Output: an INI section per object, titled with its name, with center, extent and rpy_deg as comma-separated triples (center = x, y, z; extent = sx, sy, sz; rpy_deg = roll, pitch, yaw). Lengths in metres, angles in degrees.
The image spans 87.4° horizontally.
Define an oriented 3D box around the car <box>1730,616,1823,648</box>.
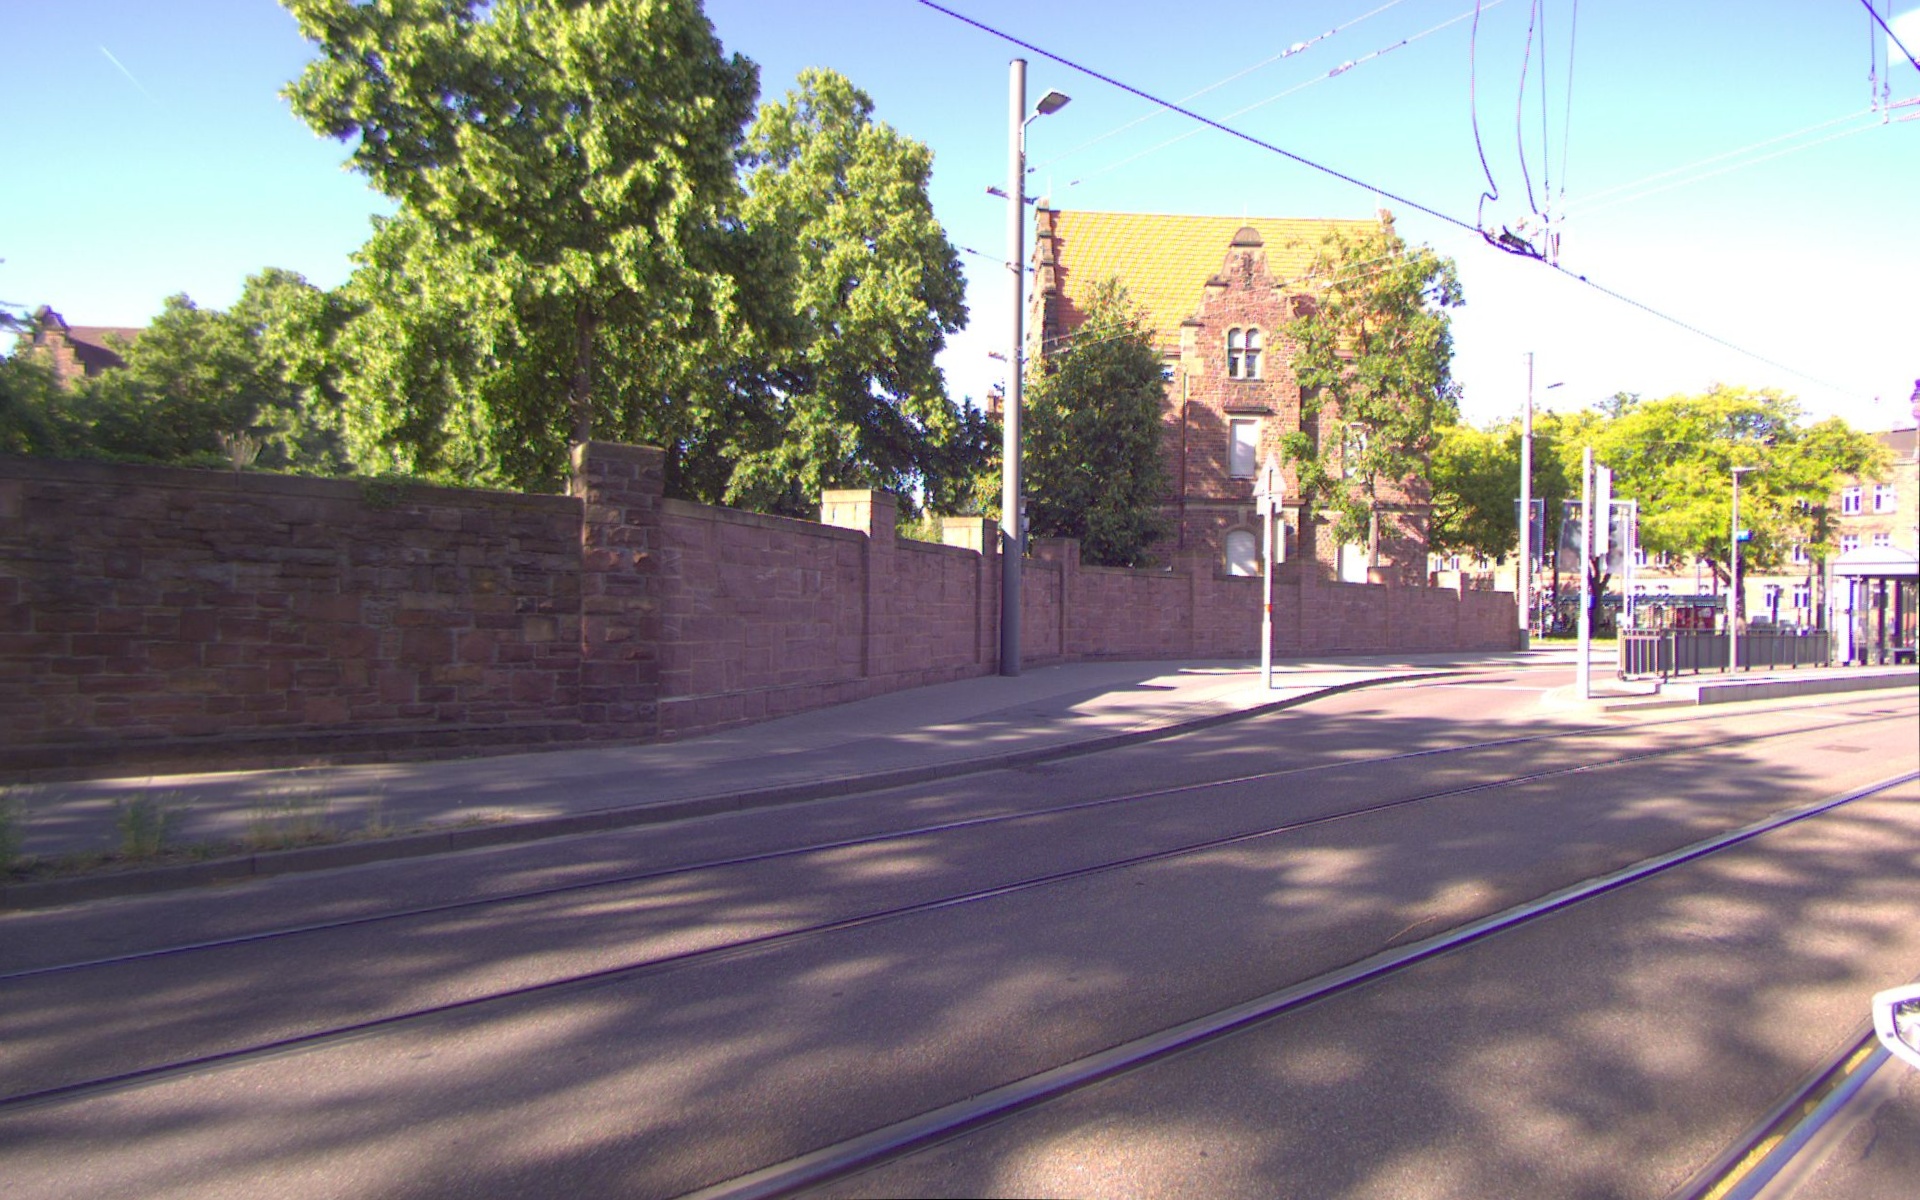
[car]
center = 48.897, 1.891, 60.236
extent = 1.980, 1.813, 3.960
rpy_deg = 1, -1, -35
